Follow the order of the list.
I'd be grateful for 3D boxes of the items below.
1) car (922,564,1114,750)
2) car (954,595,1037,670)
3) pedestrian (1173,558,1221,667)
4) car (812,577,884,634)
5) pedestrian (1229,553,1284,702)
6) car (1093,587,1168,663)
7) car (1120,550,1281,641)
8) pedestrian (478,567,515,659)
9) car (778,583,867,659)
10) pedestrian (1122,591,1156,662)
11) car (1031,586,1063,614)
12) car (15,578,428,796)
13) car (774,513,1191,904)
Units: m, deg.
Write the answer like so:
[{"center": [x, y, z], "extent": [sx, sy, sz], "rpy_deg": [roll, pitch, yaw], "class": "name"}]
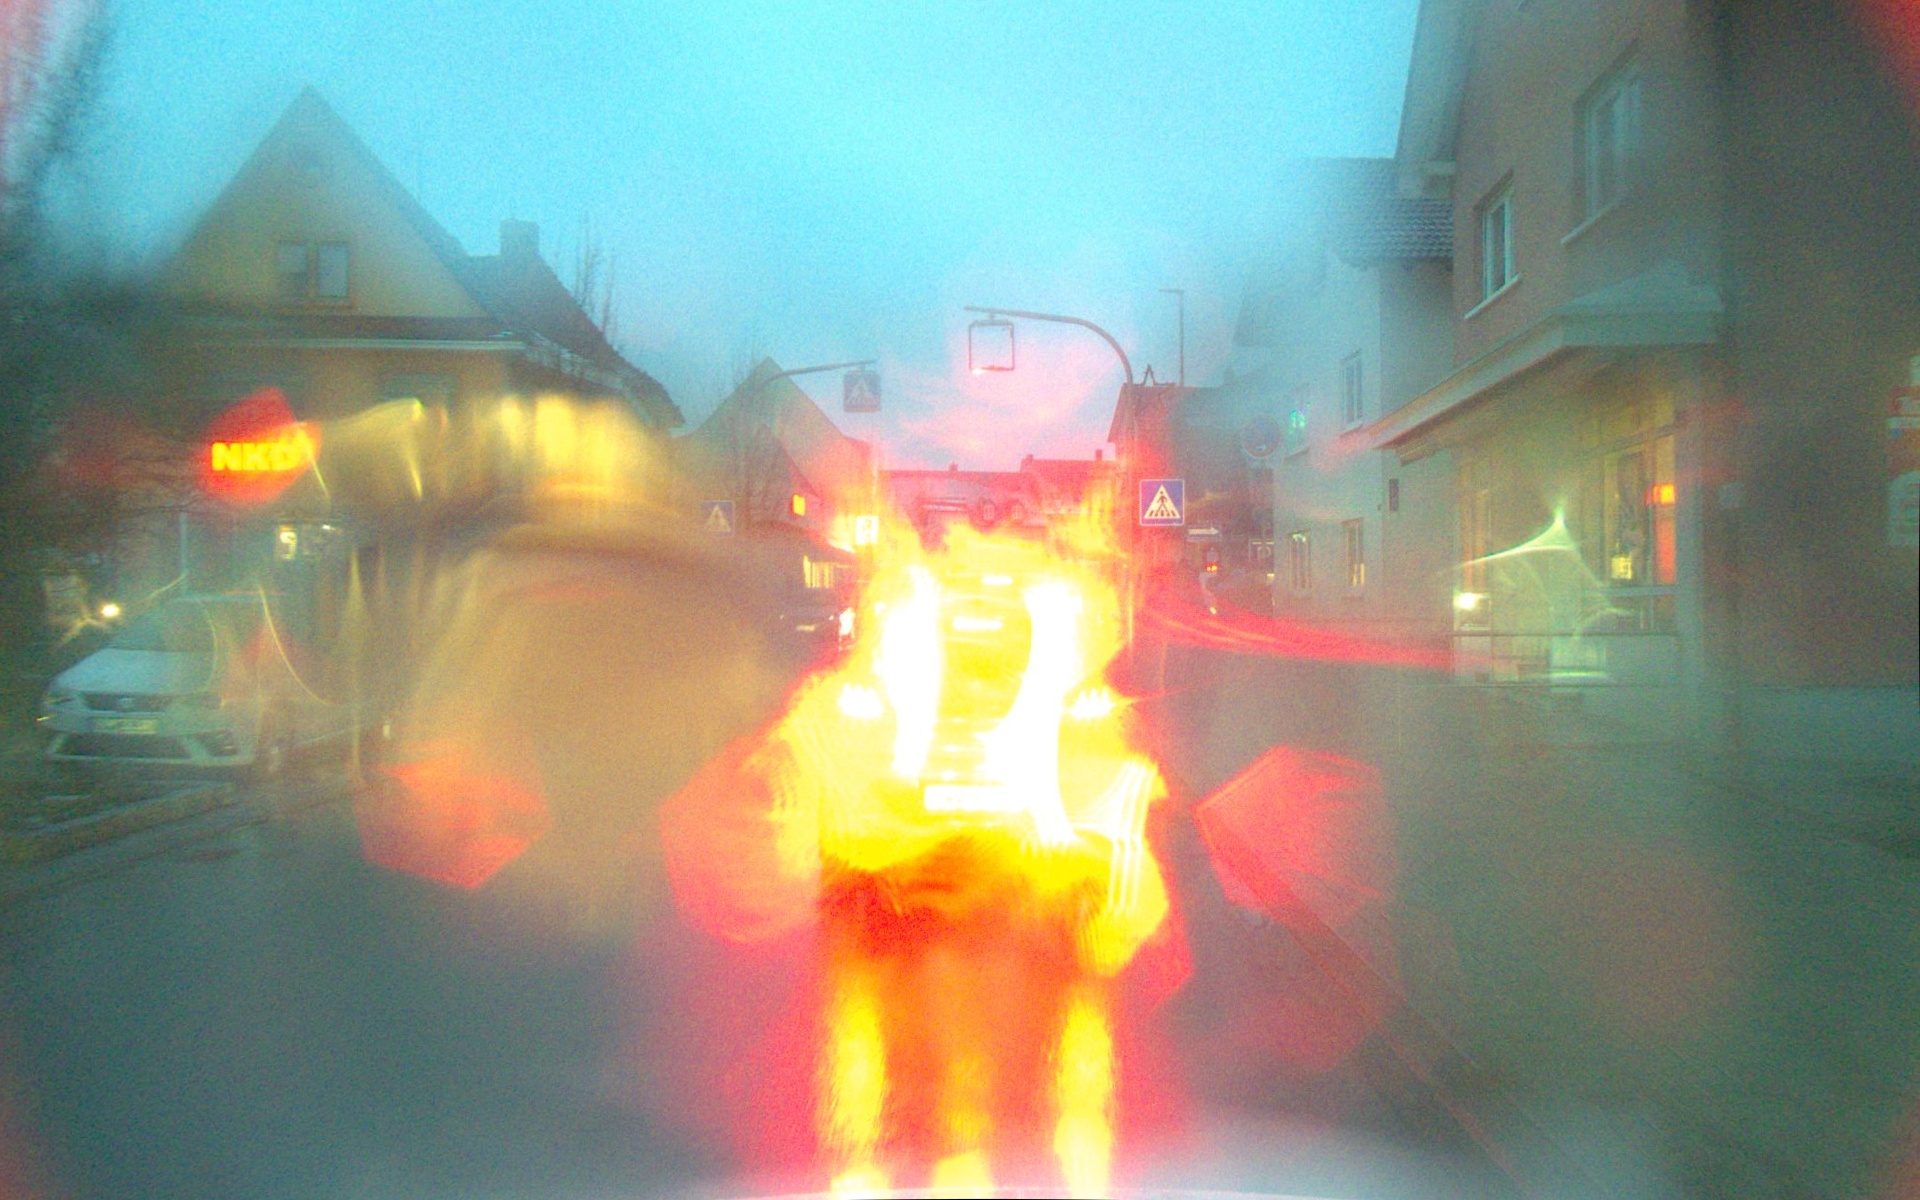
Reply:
[{"center": [0.612, 0.531, 17.276], "extent": [1.760, 1.691, 4.001], "rpy_deg": [1, 0, 2], "class": "car"}, {"center": [0.882, 0.700, 38.331], "extent": [1.789, 1.629, 4.583], "rpy_deg": [0, 0, 3], "class": "car"}, {"center": [4.201, 0.214, 29.355], "extent": [0.689, 1.909, 0.617], "rpy_deg": [1, 1, -5], "class": "pedestrian"}, {"center": [-3.621, 0.152, 53.997], "extent": [1.952, 1.783, 4.362], "rpy_deg": [0, 0, 1], "class": "car"}, {"center": [3.902, 0.353, 21.788], "extent": [0.649, 1.921, 0.825], "rpy_deg": [1, -1, 7], "class": "pedestrian"}, {"center": [4.902, 0.679, 47.928], "extent": [1.608, 2.049, 3.999], "rpy_deg": [-2, 1, -1], "class": "car"}, {"center": [5.594, -0.097, 38.866], "extent": [3.619, 2.049, 1.690], "rpy_deg": [1, 0, 4], "class": "car"}, {"center": [-9.091, 0.249, 32.456], "extent": [0.576, 1.773, 0.683], "rpy_deg": [0, 0, -5], "class": "pedestrian"}, {"center": [-3.812, 0.562, 46.571], "extent": [1.952, 2.049, 4.363], "rpy_deg": [0, 0, 3], "class": "car"}, {"center": [3.180, 0.464, 29.368], "extent": [0.542, 1.254, 0.434], "rpy_deg": [0, 0, -3], "class": "pedestrian"}, {"center": [4.623, -0.034, 88.392], "extent": [1.503, 1.266, 3.648], "rpy_deg": [-5, 1, 1], "class": "car"}, {"center": [-6.035, 0.631, 14.078], "extent": [1.635, 1.543, 4.000], "rpy_deg": [2, 0, 1], "class": "car"}, {"center": [0.253, 0.475, 10.098], "extent": [1.952, 1.827, 4.651], "rpy_deg": [0, 1, 4], "class": "car"}]
